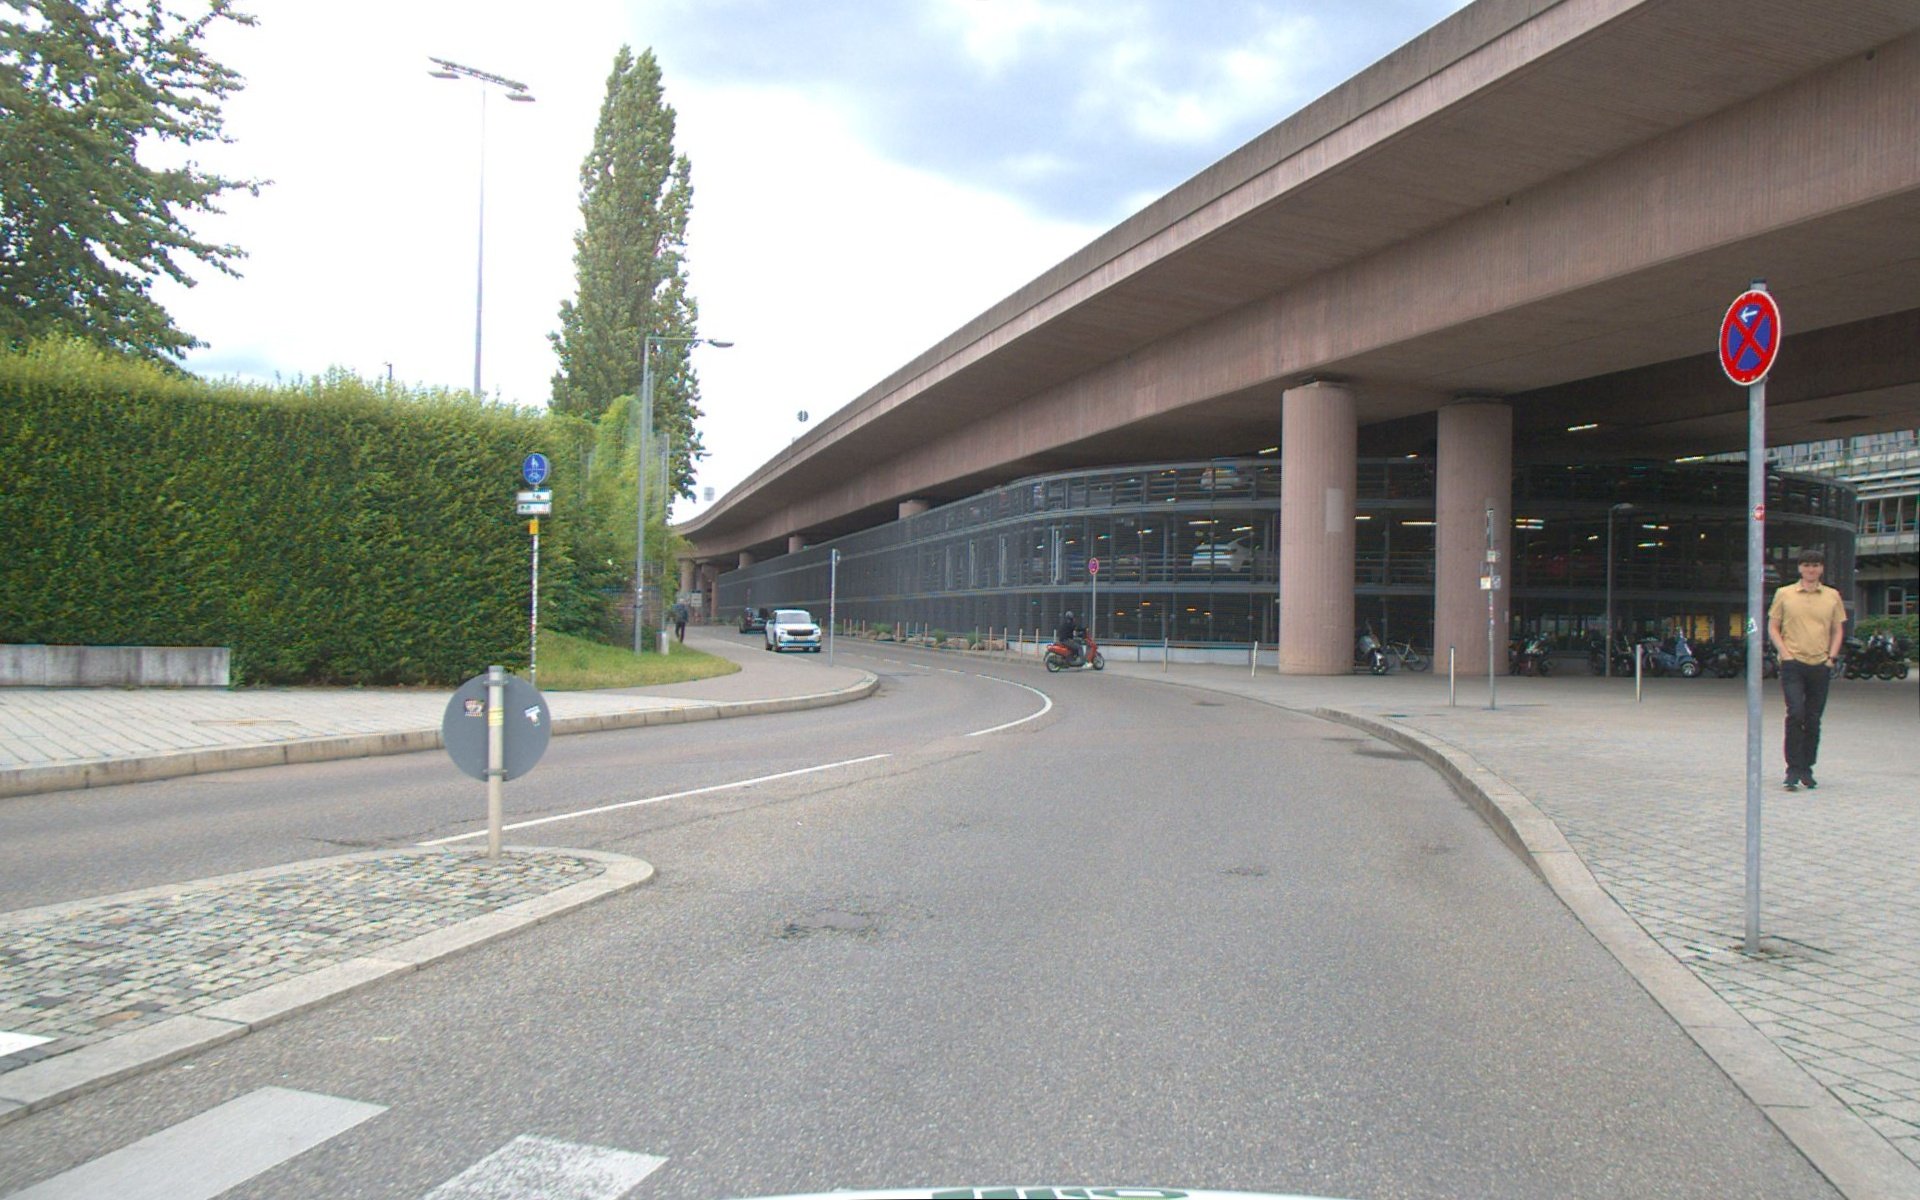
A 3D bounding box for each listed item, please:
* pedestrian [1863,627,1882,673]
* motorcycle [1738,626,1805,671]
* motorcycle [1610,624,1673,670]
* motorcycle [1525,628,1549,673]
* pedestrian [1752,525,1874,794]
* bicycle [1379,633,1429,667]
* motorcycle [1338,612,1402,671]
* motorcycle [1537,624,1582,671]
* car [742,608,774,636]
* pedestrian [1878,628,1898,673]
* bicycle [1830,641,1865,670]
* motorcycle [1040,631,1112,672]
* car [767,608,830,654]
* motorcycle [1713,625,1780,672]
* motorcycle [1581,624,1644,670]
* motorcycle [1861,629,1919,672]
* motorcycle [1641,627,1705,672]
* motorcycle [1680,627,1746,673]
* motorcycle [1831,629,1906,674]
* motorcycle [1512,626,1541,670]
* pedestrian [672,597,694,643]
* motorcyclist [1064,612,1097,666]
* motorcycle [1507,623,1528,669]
[{"bbox_3d":[41.793,2.291,75.750,0.517,2.049,0.573,2,-1,-5],"label":"pedestrian"},{"bbox_3d":[24.370,1.453,49.727,0.660,1.241,2.072,1,1,-12],"label":"motorcycle"},{"bbox_3d":[20.105,1.375,48.831,0.660,1.241,2.073,1,1,-12],"label":"motorcycle"},{"bbox_3d":[15.529,1.362,44.487,0.510,1.191,1.150,1,-2,23],"label":"motorcycle"},{"bbox_3d":[6.805,0.446,13.243,0.766,2.049,1.039,1,1,24],"label":"pedestrian"},{"bbox_3d":[13.461,1.510,50.165,1.441,0.993,0.452,1,1,13],"label":"bicycle"},{"bbox_3d":[10.989,1.095,44.349,0.634,1.480,1.746,1,1,-28],"label":"motorcycle"},{"bbox_3d":[17.200,1.345,47.467,0.812,1.241,2.080,1,1,9],"label":"motorcycle"},{"bbox_3d":[-13.617,1.462,111.294,1.807,1.741,3.694,1,1,-13],"label":"car"},{"bbox_3d":[42.493,2.306,75.743,0.517,2.049,0.573,2,-1,-4],"label":"pedestrian"},{"bbox_3d":[29.218,1.833,54.469,1.490,0.911,0.469,0,1,-39],"label":"bicycle"},{"bbox_3d":[3.164,1.395,45.075,1.909,1.040,0.749,1,1,4],"label":"motorcycle"},{"bbox_3d":[-6.563,1.227,66.838,1.833,1.713,4.388,1,1,-15],"label":"car"},{"bbox_3d":[23.464,1.426,49.398,0.660,1.308,2.073,1,1,-12],"label":"motorcycle"},{"bbox_3d":[19.154,1.372,48.587,0.660,1.241,2.073,1,1,-12],"label":"motorcycle"},{"bbox_3d":[29.723,1.594,52.423,0.660,1.241,2.356,1,1,-12],"label":"motorcycle"},{"bbox_3d":[21.164,1.468,49.152,0.660,1.241,2.073,1,1,-12],"label":"motorcycle"},{"bbox_3d":[22.330,1.473,49.097,0.660,1.241,2.073,1,1,-12],"label":"motorcycle"},{"bbox_3d":[28.426,1.602,51.778,0.660,1.298,2.356,1,1,-12],"label":"motorcycle"},{"bbox_3d":[16.541,1.390,48.325,0.509,1.241,1.151,1,1,5],"label":"motorcycle"},{"bbox_3d":[-11.175,0.791,66.710,0.789,1.812,0.918,1,1,-12],"label":"pedestrian"},{"bbox_3d":[3.279,1.056,45.072,0.849,1.444,0.764,1,1,4],"label":"motorcyclist"},{"bbox_3d":[15.814,1.298,46.927,0.509,1.241,1.151,1,1,17],"label":"motorcycle"}]
